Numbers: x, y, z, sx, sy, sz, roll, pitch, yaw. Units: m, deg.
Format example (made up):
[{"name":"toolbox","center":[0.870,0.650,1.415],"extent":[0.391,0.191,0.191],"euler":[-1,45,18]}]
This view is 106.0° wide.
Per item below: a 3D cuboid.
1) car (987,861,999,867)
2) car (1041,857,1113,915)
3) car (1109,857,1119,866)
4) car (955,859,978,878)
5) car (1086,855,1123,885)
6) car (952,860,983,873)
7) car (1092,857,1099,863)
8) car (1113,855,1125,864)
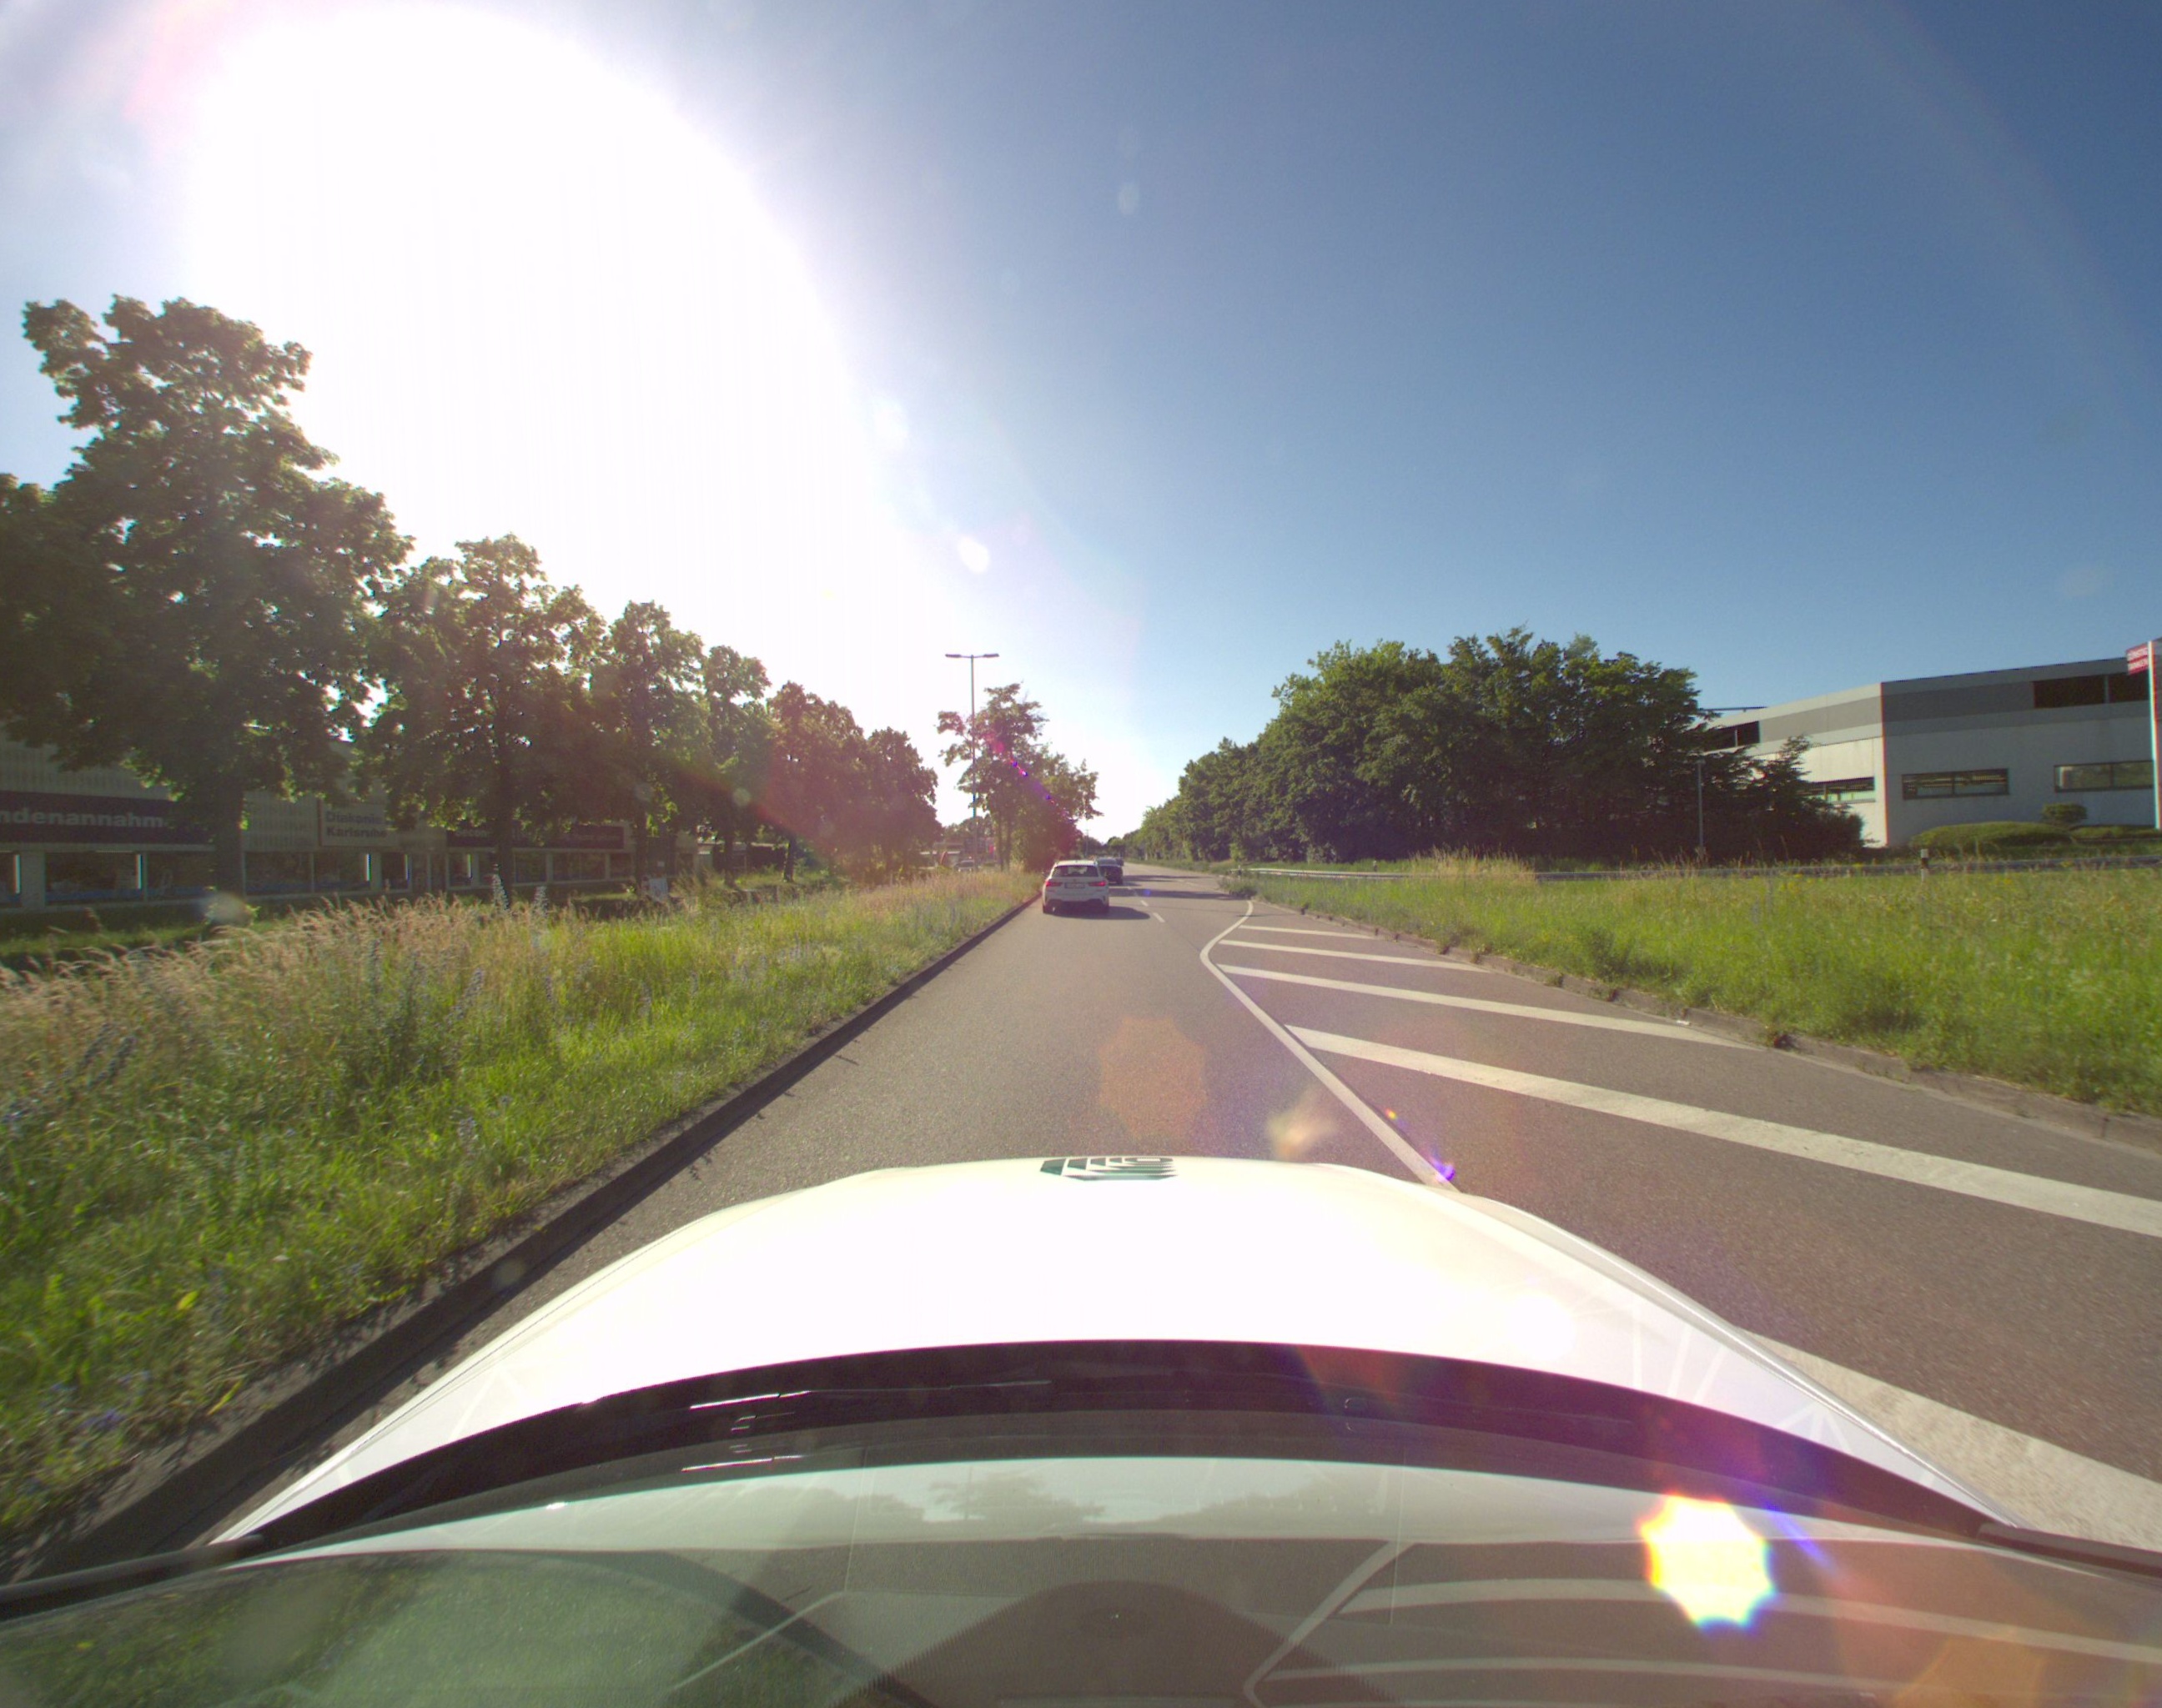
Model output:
[{"name":"car","center":[-27.821,3.107,257.234],"extent":[1.938,1.783,4.037],"euler":[-1,-1,-43]},{"name":"car","center":[-0.055,0.841,23.525],"extent":[1.855,1.455,4.548],"euler":[-1,0,1]},{"name":"car","center":[6.607,1.500,164.857],"extent":[1.766,1.555,3.832],"euler":[-2,0,-1]},{"name":"car","center":[-11.383,1.415,81.351],"extent":[1.701,1.746,4.165],"euler":[-1,0,0]},{"name":"car","center":[1.240,0.846,44.625],"extent":[1.855,1.455,4.548],"euler":[-2,0,1]},{"name":"car","center":[-16.909,1.863,121.546],"extent":[4.078,1.662,1.901],"euler":[-2,0,17]},{"name":"car","center":[3.793,1.503,216.353],"extent":[1.855,1.565,4.547],"euler":[-2,0,1]},{"name":"car","center":[6.339,0.922,135.888],"extent":[1.855,1.499,4.336],"euler":[-2,0,1]}]
